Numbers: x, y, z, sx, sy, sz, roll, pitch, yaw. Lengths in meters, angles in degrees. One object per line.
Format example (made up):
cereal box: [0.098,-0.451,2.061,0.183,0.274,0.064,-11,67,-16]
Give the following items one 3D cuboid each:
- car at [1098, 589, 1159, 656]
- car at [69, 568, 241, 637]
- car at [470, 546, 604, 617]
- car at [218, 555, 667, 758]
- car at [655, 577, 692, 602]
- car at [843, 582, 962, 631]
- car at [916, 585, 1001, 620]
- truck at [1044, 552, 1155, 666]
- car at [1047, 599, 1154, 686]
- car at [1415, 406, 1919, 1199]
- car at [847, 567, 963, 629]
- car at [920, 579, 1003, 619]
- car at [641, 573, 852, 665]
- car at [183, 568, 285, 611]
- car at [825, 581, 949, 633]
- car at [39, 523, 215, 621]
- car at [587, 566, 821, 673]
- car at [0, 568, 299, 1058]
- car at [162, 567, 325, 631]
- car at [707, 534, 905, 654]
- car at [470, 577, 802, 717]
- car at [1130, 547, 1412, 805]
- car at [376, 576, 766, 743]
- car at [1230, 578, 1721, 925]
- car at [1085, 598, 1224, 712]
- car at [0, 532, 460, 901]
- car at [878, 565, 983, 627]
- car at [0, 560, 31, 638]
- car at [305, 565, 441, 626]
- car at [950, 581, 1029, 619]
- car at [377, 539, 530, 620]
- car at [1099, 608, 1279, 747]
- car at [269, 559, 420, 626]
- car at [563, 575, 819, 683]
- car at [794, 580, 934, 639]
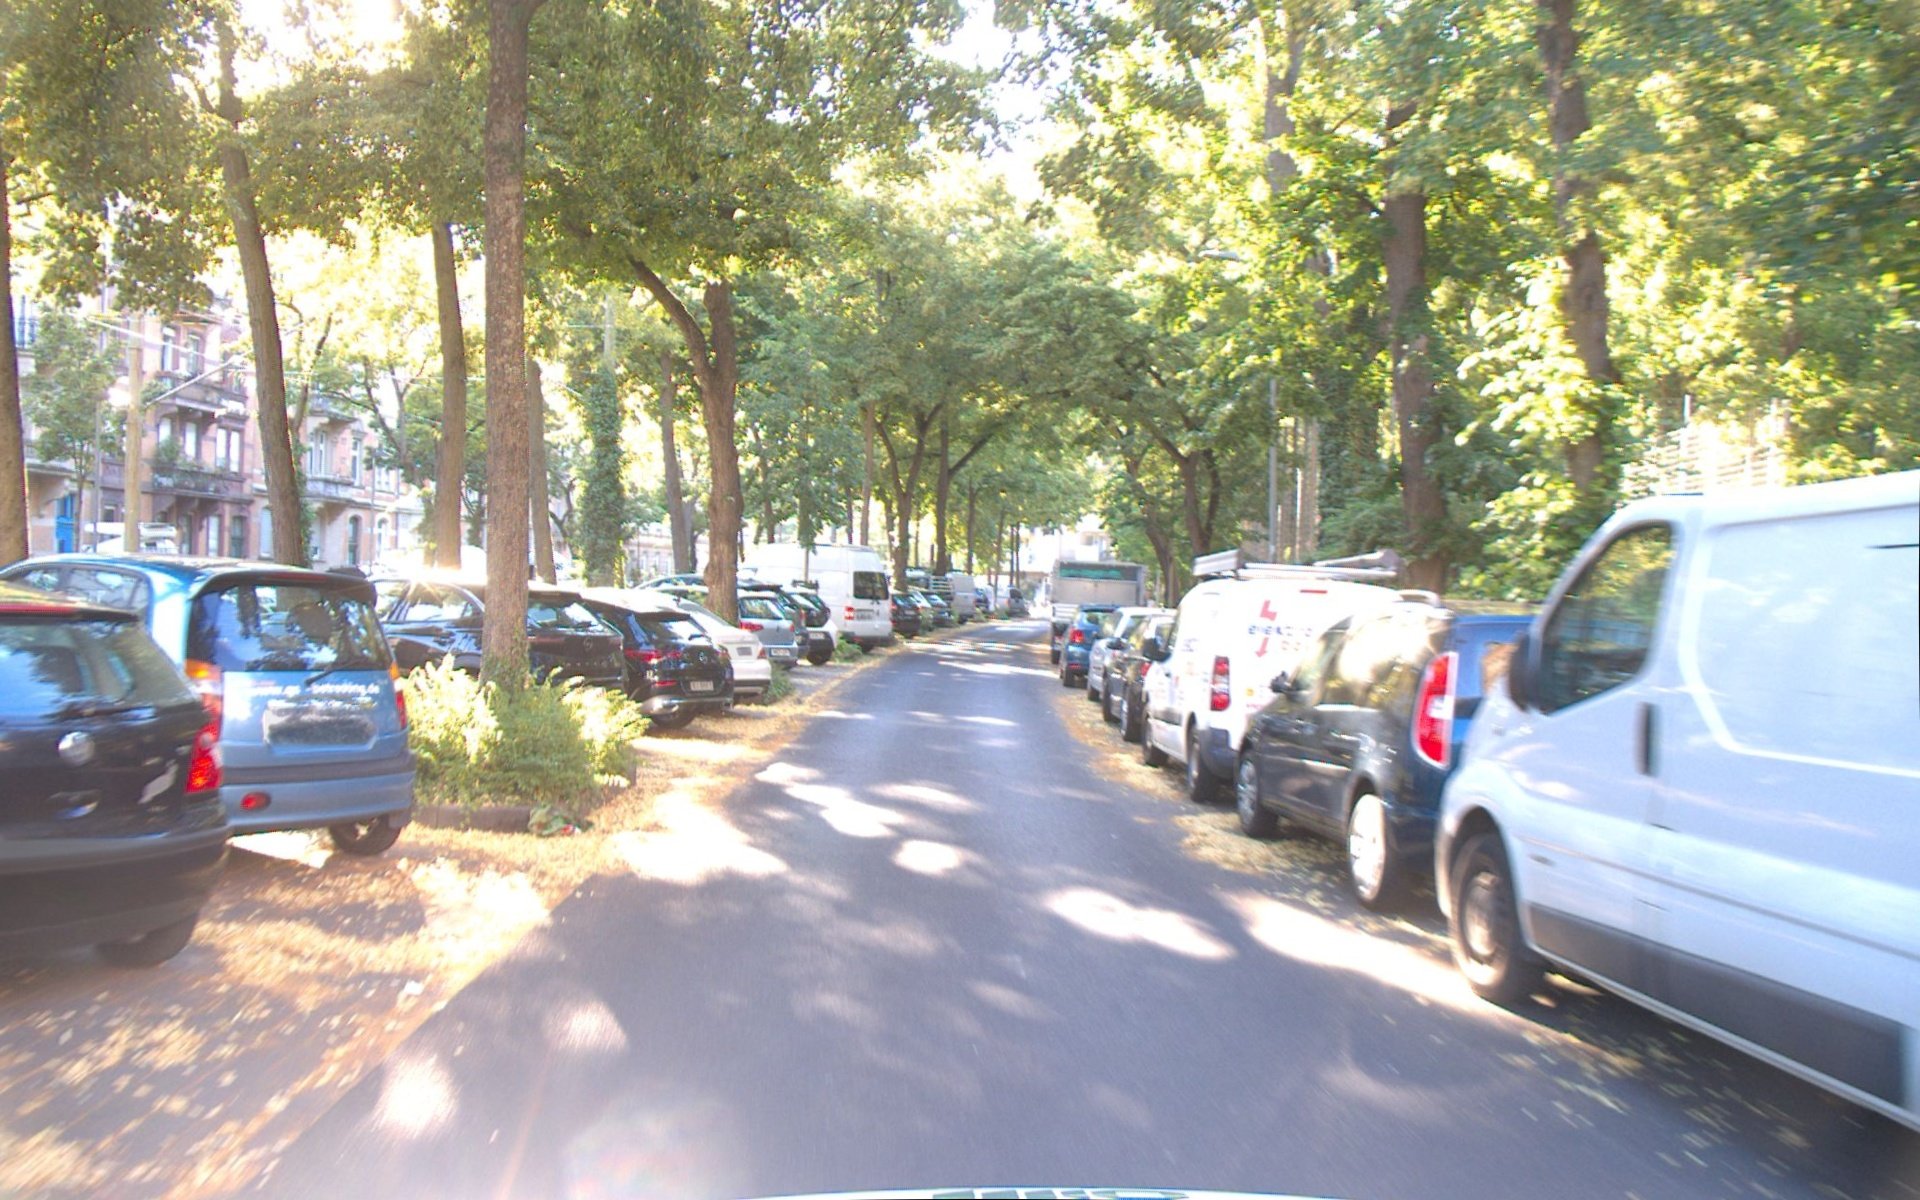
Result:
car: [4.499,0.575,44.400,1.538,1.677,3.603,1,0,5]
car: [-19.919,0.061,40.897,4.149,1.499,1.854,-3,0,31]
car: [-17.301,-0.743,67.531,5.155,2.616,2.268,-3,0,31]
car: [-4.905,0.490,15.712,3.740,1.522,1.737,4,0,22]
car: [-21.385,-0.782,123.549,1.674,1.852,4.003,0,1,7]
car: [-2.124,0.234,60.987,4.008,1.499,1.814,4,0,34]
car: [-0.091,0.120,85.156,4.008,1.499,1.814,4,0,34]
truck: [3.112,0.174,37.773,2.317,2.393,4.385,1,0,3]
car: [2.491,0.723,29.932,1.539,1.409,3.600,1,0,-1]
car: [3.213,0.549,5.148,1.906,2.038,4.654,1,0,-6]
car: [-2.122,-0.080,63.492,4.008,2.075,1.814,4,0,34]
car: [0.080,-0.061,88.038,4.008,1.820,1.814,4,0,34]
car: [-4.261,0.372,33.066,3.740,1.507,1.737,4,0,22]
car: [-26.259,-0.393,59.939,1.674,1.471,4.003,0,1,5]
car: [-2.597,0.231,58.341,4.008,1.499,1.814,4,0,34]
car: [-26.422,-0.883,52.738,2.498,2.937,5.485,0,1,5]
car: [-4.635,0.343,30.007,3.740,1.614,1.737,4,0,22]
car: [-4.457,0.595,6.284,3.537,1.472,1.606,4,1,26]
car: [-18.933,-0.018,43.659,4.149,1.499,1.854,-3,0,31]
car: [-3.717,-0.164,39.564,4.408,2.519,1.814,4,0,34]
car: [-4.108,0.571,21.027,3.740,1.415,1.737,4,0,22]
car: [2.574,0.565,14.562,1.540,1.937,3.900,1,0,-3]
car: [-4.223,0.609,18.001,3.740,1.415,1.737,4,0,22]
car: [2.817,0.727,9.886,1.540,1.666,3.709,1,0,-4]
car: [2.786,0.751,24.327,1.539,1.493,3.600,1,0,-1]
car: [-4.728,0.487,9.192,3.538,1.589,1.606,4,1,26]
car: [-1.257,-0.174,69.704,4.008,2.248,1.814,4,0,34]
car: [-20.391,0.073,32.529,4.149,1.499,1.854,-3,0,31]
car: [-18.773,-0.141,52.838,4.149,1.728,1.854,-3,0,31]
car: [1.657,-0.015,93.491,4.008,1.820,1.814,4,0,34]
car: [-18.052,-0.712,58.920,5.155,2.616,2.268,-3,0,31]
car: [2.601,0.833,19.486,1.539,1.410,3.600,1,0,-1]
car: [-17.725,-0.206,47.579,4.149,1.728,1.854,-3,0,31]
car: [-4.433,0.469,27.298,3.740,1.446,1.737,4,0,22]
car: [-2.999,0.275,51.459,4.008,1.499,1.814,4,0,34]
